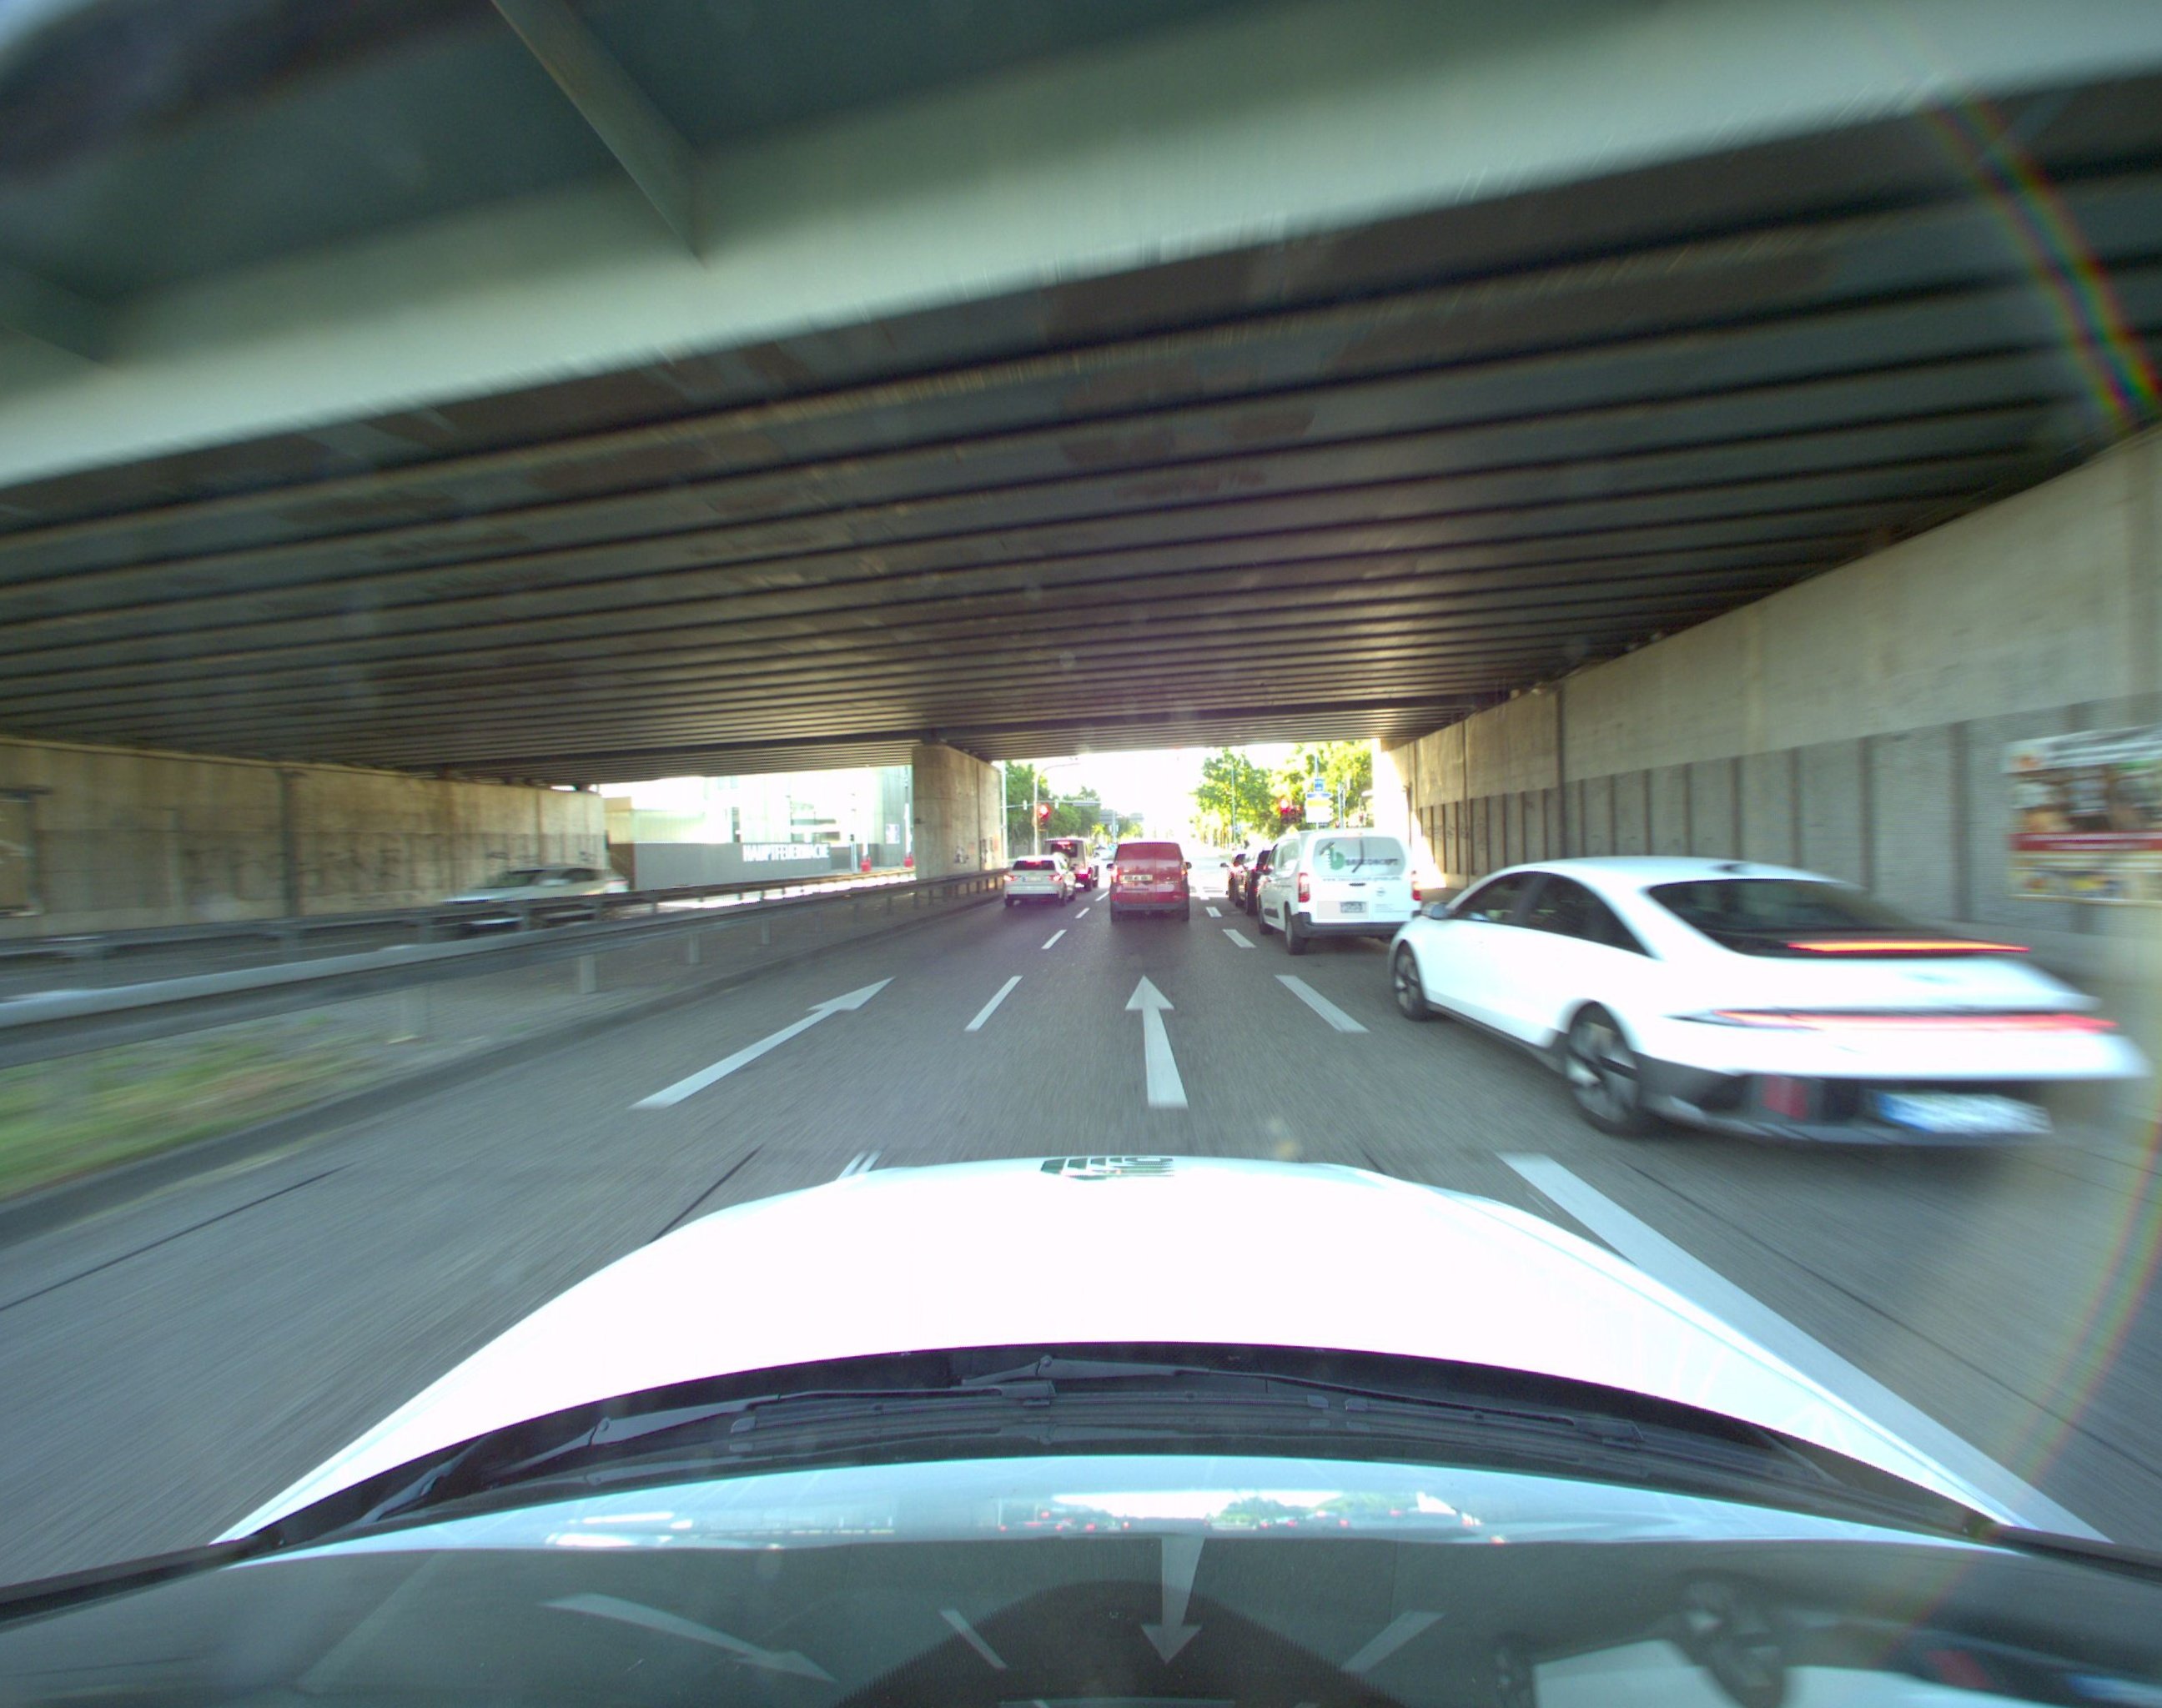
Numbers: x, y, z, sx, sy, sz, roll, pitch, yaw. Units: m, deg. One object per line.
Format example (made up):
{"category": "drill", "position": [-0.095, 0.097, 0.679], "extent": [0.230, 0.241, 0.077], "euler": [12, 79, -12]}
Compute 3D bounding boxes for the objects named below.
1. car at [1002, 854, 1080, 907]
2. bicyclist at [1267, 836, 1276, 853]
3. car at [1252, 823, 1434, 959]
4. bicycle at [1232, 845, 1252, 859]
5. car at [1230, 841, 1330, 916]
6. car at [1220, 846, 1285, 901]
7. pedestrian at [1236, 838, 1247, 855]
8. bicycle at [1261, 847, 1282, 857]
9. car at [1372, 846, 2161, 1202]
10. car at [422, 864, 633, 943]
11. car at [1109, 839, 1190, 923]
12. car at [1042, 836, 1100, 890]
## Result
{"category": "car", "position": [-1.110, 0.734, 24.233], "extent": [1.684, 1.410, 3.820], "euler": [-1, 0, 6]}
{"category": "bicyclist", "position": [17.717, -0.877, 75.773], "extent": [0.750, 1.542, 0.699], "euler": [-2, 0, 12]}
{"category": "car", "position": [4.020, 0.510, 13.272], "extent": [1.805, 1.833, 4.304], "euler": [-1, 0, 4]}
{"category": "bicycle", "position": [14.872, -0.219, 75.191], "extent": [1.724, 1.233, 0.557], "euler": [-1, -1, -1]}
{"category": "car", "position": [4.790, 0.542, 20.117], "extent": [1.770, 1.655, 3.995], "euler": [0, 0, 4]}
{"category": "car", "position": [5.317, 0.556, 25.626], "extent": [1.644, 1.552, 3.871], "euler": [0, 1, 6]}
{"category": "pedestrian", "position": [14.832, -0.722, 75.186], "extent": [0.834, 1.554, 0.557], "euler": [-1, -1, -1]}
{"category": "bicycle", "position": [17.707, -0.149, 75.770], "extent": [1.940, 0.874, 0.702], "euler": [-2, 0, 12]}
{"category": "car", "position": [3.675, 0.705, 5.708], "extent": [1.739, 1.456, 4.666], "euler": [-1, 0, 2]}
{"category": "car", "position": [-12.982, 1.090, 19.491], "extent": [1.791, 1.606, 4.302], "euler": [-2, 0, 5]}
{"category": "car", "position": [1.669, 0.583, 19.395], "extent": [1.710, 1.764, 4.007], "euler": [-1, 0, 6]}
{"category": "car", "position": [-0.310, 0.325, 31.409], "extent": [1.805, 1.904, 3.819], "euler": [-1, 0, 5]}
